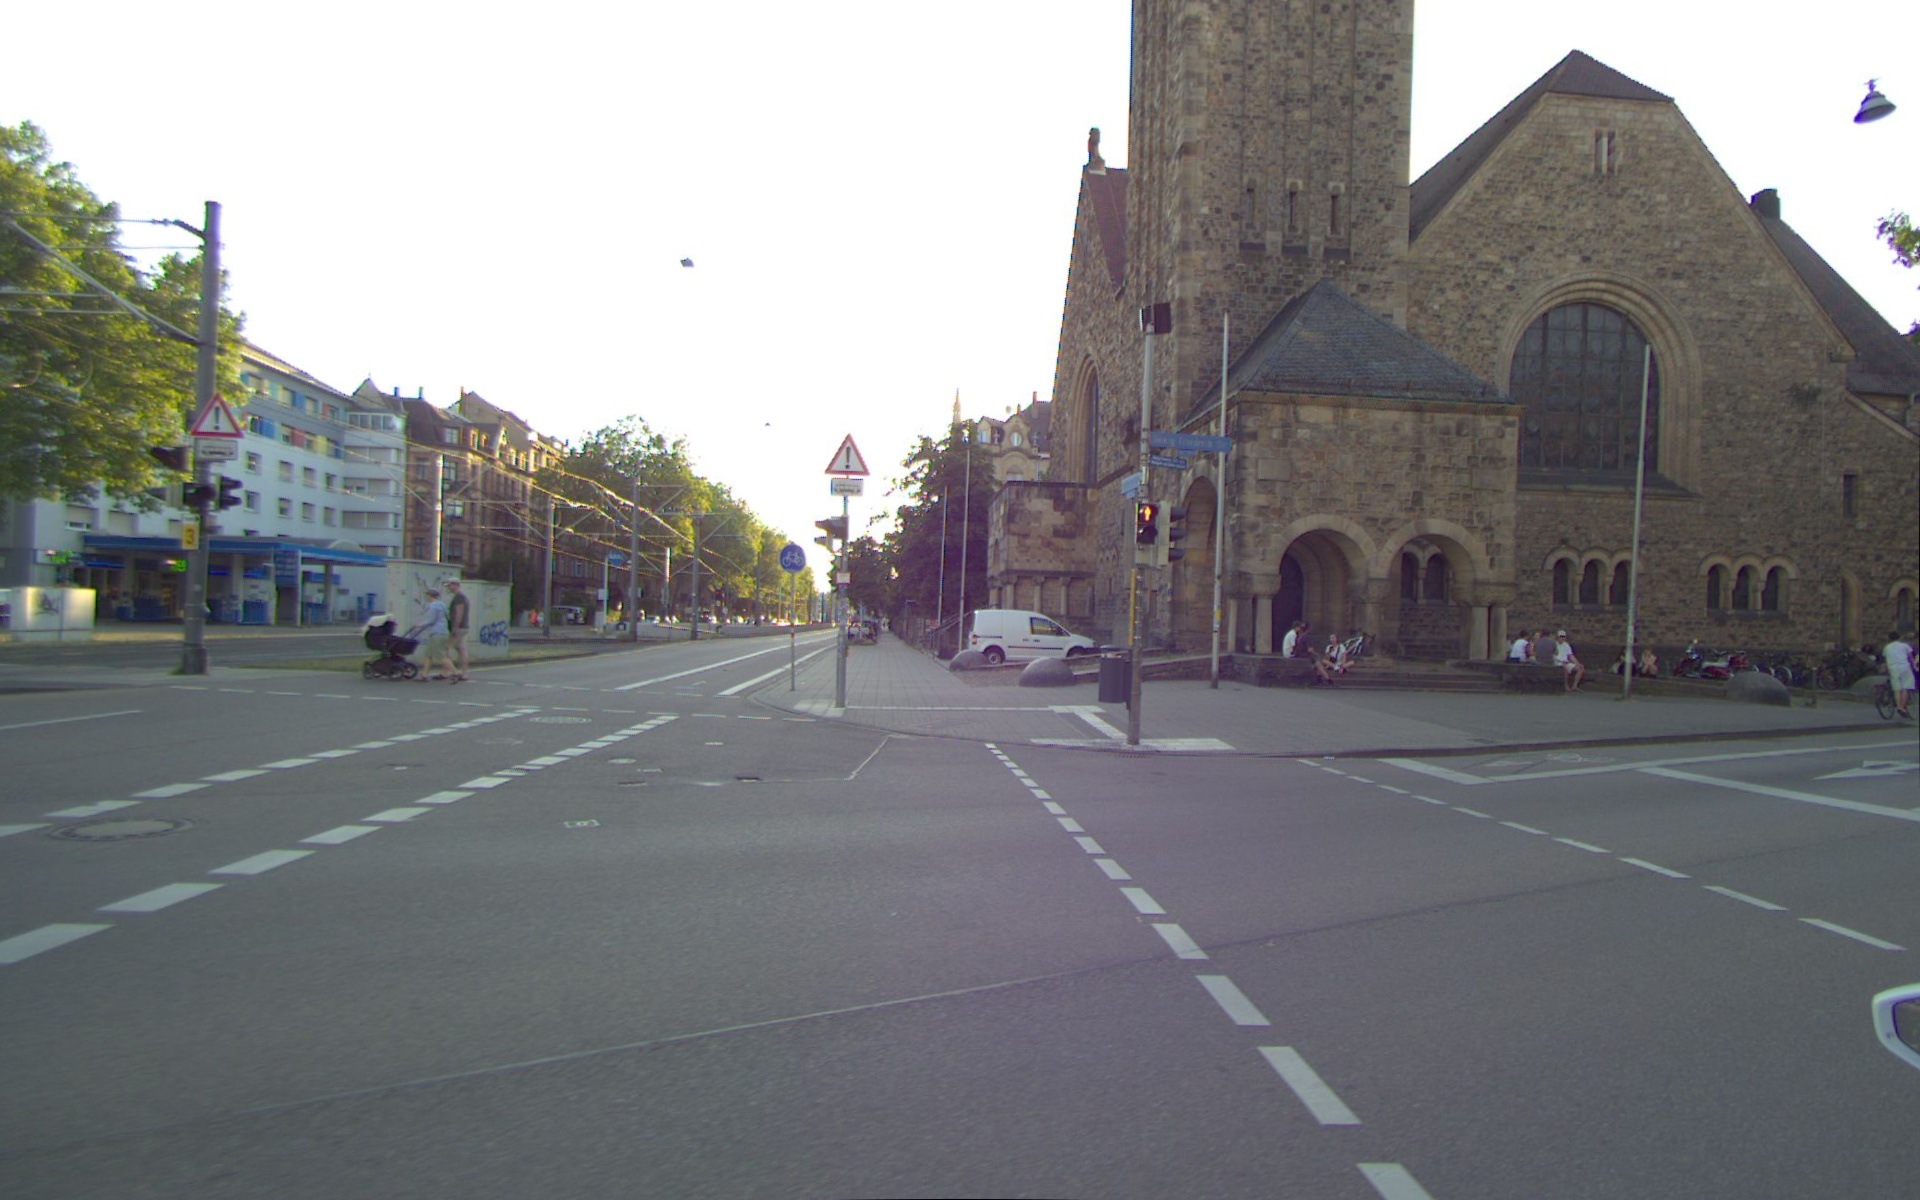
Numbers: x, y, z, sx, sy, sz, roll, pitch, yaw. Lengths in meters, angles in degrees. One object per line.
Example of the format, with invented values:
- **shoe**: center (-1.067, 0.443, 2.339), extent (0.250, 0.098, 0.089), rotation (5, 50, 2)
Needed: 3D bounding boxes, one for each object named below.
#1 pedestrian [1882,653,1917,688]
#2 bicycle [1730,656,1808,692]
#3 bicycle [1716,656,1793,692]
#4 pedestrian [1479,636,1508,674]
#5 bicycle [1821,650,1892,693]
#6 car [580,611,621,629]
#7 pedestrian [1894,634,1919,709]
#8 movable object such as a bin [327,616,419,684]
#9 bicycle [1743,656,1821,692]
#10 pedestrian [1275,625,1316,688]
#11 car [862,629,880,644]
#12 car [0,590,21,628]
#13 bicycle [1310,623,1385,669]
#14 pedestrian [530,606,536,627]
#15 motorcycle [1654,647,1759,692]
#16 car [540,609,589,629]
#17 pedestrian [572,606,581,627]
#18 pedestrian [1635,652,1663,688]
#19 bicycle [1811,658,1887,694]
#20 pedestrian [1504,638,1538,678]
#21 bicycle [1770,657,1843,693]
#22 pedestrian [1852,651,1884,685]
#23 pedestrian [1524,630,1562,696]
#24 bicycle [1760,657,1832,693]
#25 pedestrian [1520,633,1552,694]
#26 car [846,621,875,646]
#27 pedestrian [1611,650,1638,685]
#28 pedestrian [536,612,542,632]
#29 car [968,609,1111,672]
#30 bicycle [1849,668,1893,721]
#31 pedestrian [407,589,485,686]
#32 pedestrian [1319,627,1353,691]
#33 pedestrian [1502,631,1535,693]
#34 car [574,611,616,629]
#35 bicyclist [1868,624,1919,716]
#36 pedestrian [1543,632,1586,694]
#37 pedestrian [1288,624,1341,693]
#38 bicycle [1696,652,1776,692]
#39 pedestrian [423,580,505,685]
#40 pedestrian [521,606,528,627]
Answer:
- **pedestrian**: center (29.885, 2.249, 31.958), extent (0.688, 1.070, 0.516), rotation (2, -1, -12)
- **bicycle**: center (25.041, 2.277, 31.137), extent (0.458, 1.002, 2.003), rotation (2, -2, -14)
- **bicycle**: center (24.543, 2.258, 31.067), extent (0.458, 1.002, 2.003), rotation (2, -2, -14)
- **pedestrian**: center (15.663, 1.604, 29.482), extent (0.635, 1.090, 0.830), rotation (1, -1, 21)
- **bicycle**: center (28.220, 2.234, 31.646), extent (0.430, 1.265, 1.728), rotation (2, -1, -15)
- **car**: center (-43.284, 2.390, 121.135), extent (4.299, 2.040, 1.997), rotation (2, -1, -9)
- **pedestrian**: center (24.710, 1.849, 25.967), extent (0.978, 1.881, 0.569), rotation (2, -1, -33)
- **movable object such as a bin**: center (-10.275, 0.862, 17.622), extent (1.117, 1.134, 0.861), rotation (2, -1, -9)
- **bicycle**: center (25.521, 2.288, 31.222), extent (0.458, 1.002, 1.985), rotation (2, -2, -14)
- **pedestrian**: center (7.617, 1.273, 22.837), extent (0.685, 1.393, 0.804), rotation (2, -1, 4)
- **car**: center (-8.872, 3.634, 99.853), extent (1.721, 1.437, 3.997), rotation (2, -1, -6)
- **car**: center (-42.860, 0.341, 42.798), extent (1.961, 1.634, 3.999), rotation (2, -1, -2)
- **bicycle**: center (9.529, 1.106, 24.812), extent (0.584, 1.071, 2.282), rotation (2, -2, -11)
- **pedestrian**: center (-38.444, 1.487, 90.424), extent (0.446, 1.850, 0.550), rotation (2, -1, -22)
- **motorcycle**: center (22.423, 2.074, 30.224), extent (0.811, 1.141, 2.407), rotation (2, 1, -25)
- **car**: center (-42.500, 2.068, 107.934), extent (4.409, 2.040, 1.998), rotation (2, -1, -7)
- **pedestrian**: center (-38.314, 1.675, 100.459), extent (0.601, 2.040, 0.806), rotation (2, -1, -7)
- **pedestrian**: center (19.700, 1.993, 28.732), extent (0.551, 1.004, 0.695), rotation (1, -1, 27)
- **bicycle**: center (27.795, 2.355, 31.442), extent (0.434, 1.002, 1.879), rotation (2, -1, -14)
- **pedestrian**: center (16.262, 1.662, 29.138), extent (0.672, 1.109, 1.333), rotation (1, -2, 21)
- **bicycle**: center (26.445, 2.334, 31.405), extent (0.364, 1.002, 1.879), rotation (2, -1, -14)
- **pedestrian**: center (29.406, 2.196, 32.542), extent (0.596, 1.062, 0.498), rotation (2, -1, -9)
- **pedestrian**: center (13.322, 1.439, 22.961), extent (0.546, 1.472, 0.551), rotation (2, -1, 6)
- **bicycle**: center (26.005, 2.317, 31.288), extent (0.364, 1.002, 1.879), rotation (2, -1, -14)
- **pedestrian**: center (13.889, 1.522, 24.225), extent (0.449, 1.425, 0.548), rotation (2, -1, 6)
- **car**: center (-6.597, 2.215, 66.606), extent (1.799, 1.572, 3.915), rotation (2, -2, -5)
- **pedestrian**: center (19.150, 1.941, 28.958), extent (0.551, 0.980, 0.649), rotation (1, -1, 27)
- **pedestrian**: center (-38.127, 1.999, 91.026), extent (0.446, 1.850, 0.550), rotation (2, -1, -22)
- **car**: center (2.497, 1.288, 32.029), extent (4.321, 1.832, 1.584), rotation (2, -1, -3)
- **bicycle**: center (19.950, 2.045, 21.990), extent (2.173, 1.025, 0.546), rotation (3, 0, -44)
- **pedestrian**: center (-9.072, 0.660, 17.756), extent (0.989, 1.655, 0.719), rotation (2, -1, -9)
- **pedestrian**: center (8.509, 1.330, 22.710), extent (0.686, 1.393, 0.803), rotation (1, -1, 22)
- **pedestrian**: center (13.108, 1.460, 23.587), extent (0.537, 1.425, 0.402), rotation (2, -1, 6)
- **car**: center (-42.825, 2.367, 117.951), extent (4.299, 2.040, 1.997), rotation (2, -1, -9)
- **bicyclist**: center (20.293, 1.500, 21.792), extent (0.935, 1.905, 0.700), rotation (2, 0, -40)
- **pedestrian**: center (14.512, 1.501, 24.139), extent (0.619, 1.425, 0.704), rotation (2, -1, 6)
- **pedestrian**: center (7.791, 1.272, 22.089), extent (0.897, 1.473, 0.630), rotation (2, -1, -3)
- **bicycle**: center (23.891, 2.209, 30.979), extent (0.576, 1.002, 2.002), rotation (2, 1, -14)
- **pedestrian**: center (-9.133, 0.599, 18.536), extent (1.139, 1.871, 0.710), rotation (2, -1, -9)
- **pedestrian**: center (-38.844, 1.472, 89.600), extent (0.446, 1.850, 0.550), rotation (2, -1, -22)
